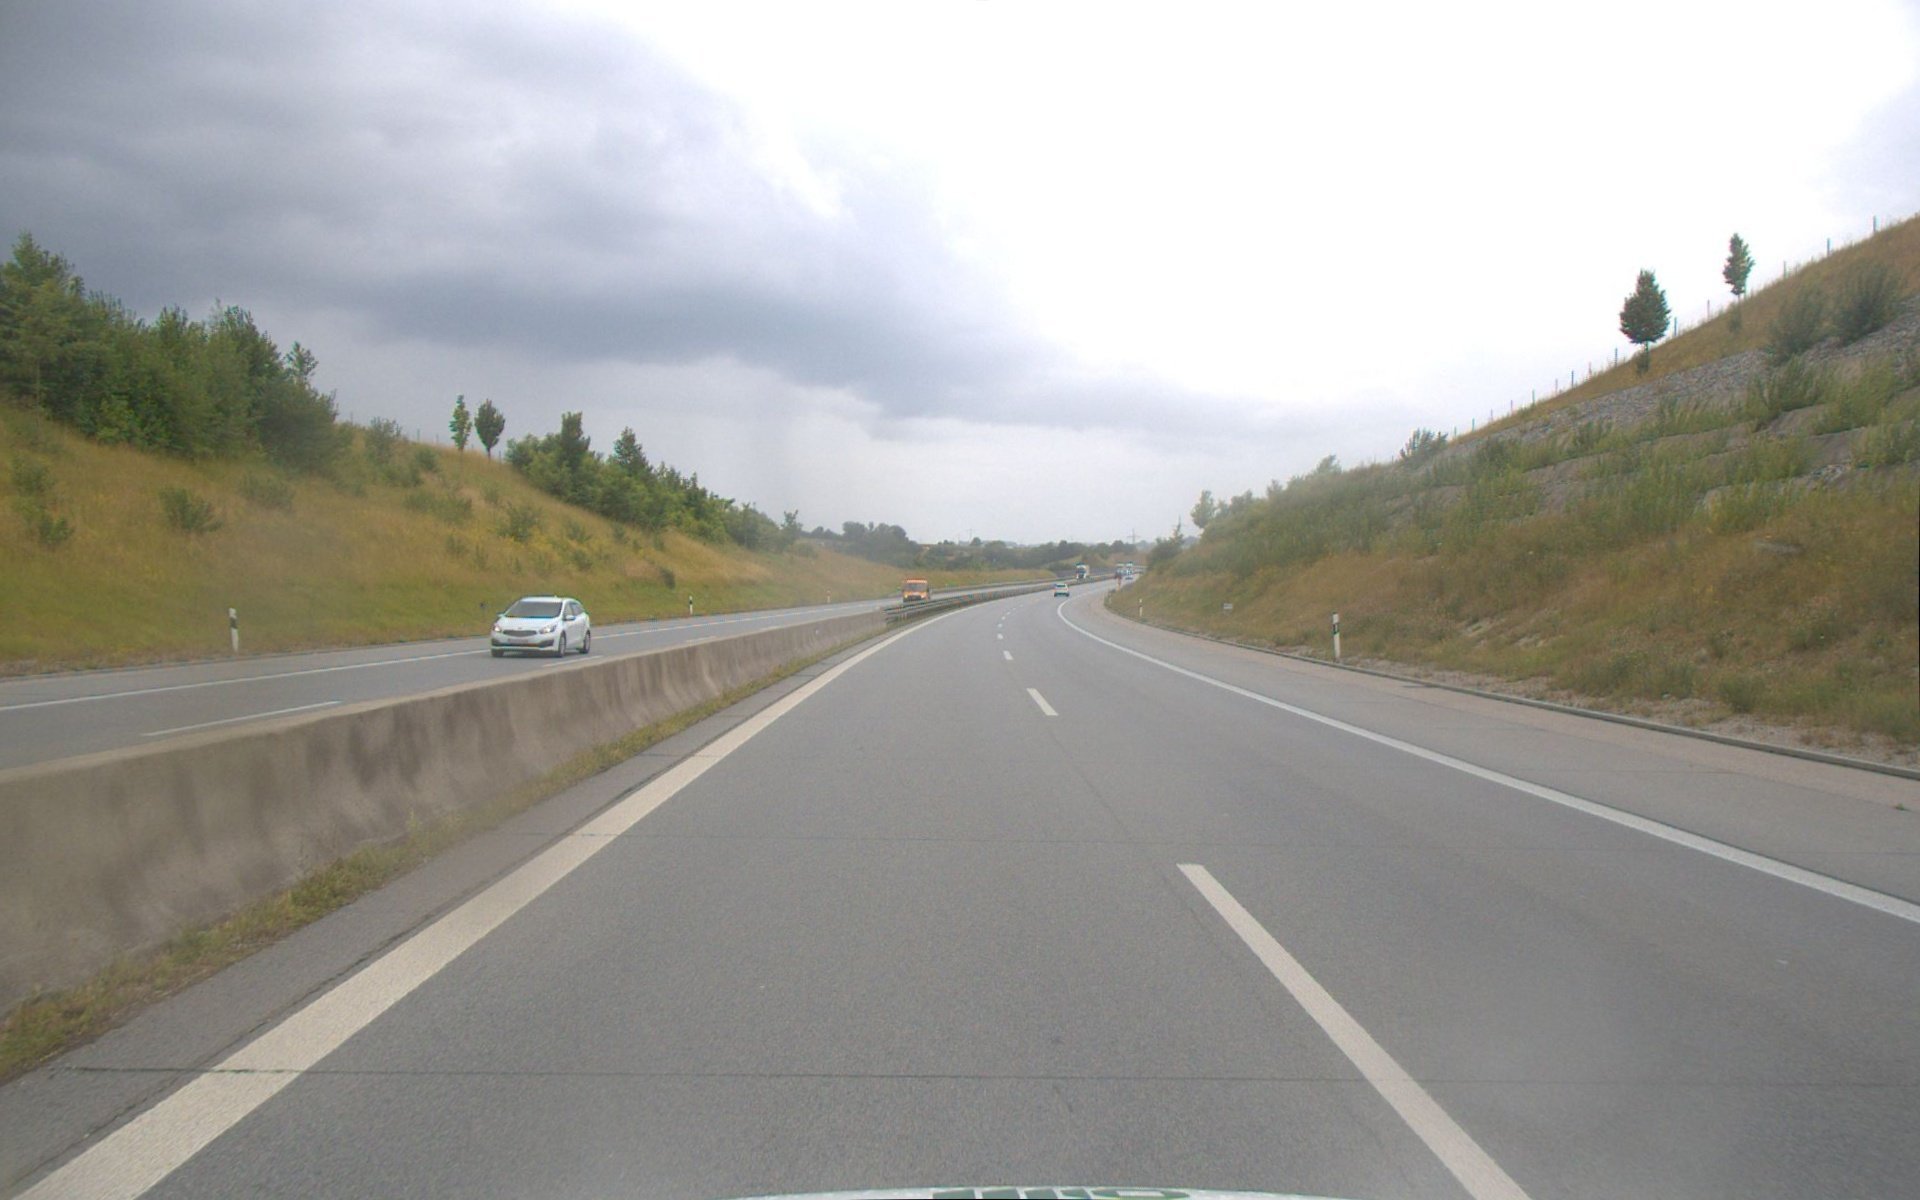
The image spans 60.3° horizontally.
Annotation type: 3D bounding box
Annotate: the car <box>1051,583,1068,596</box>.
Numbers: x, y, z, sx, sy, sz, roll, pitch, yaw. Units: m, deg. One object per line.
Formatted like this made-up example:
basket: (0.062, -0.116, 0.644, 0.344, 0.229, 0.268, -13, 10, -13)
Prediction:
car: (12.935, -1.374, 216.095, 1.917, 1.680, 3.999, 0, 0, -1)

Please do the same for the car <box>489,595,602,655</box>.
car: (-10.640, 0.605, 42.796, 1.737, 1.466, 5.015, 0, 0, -1)
